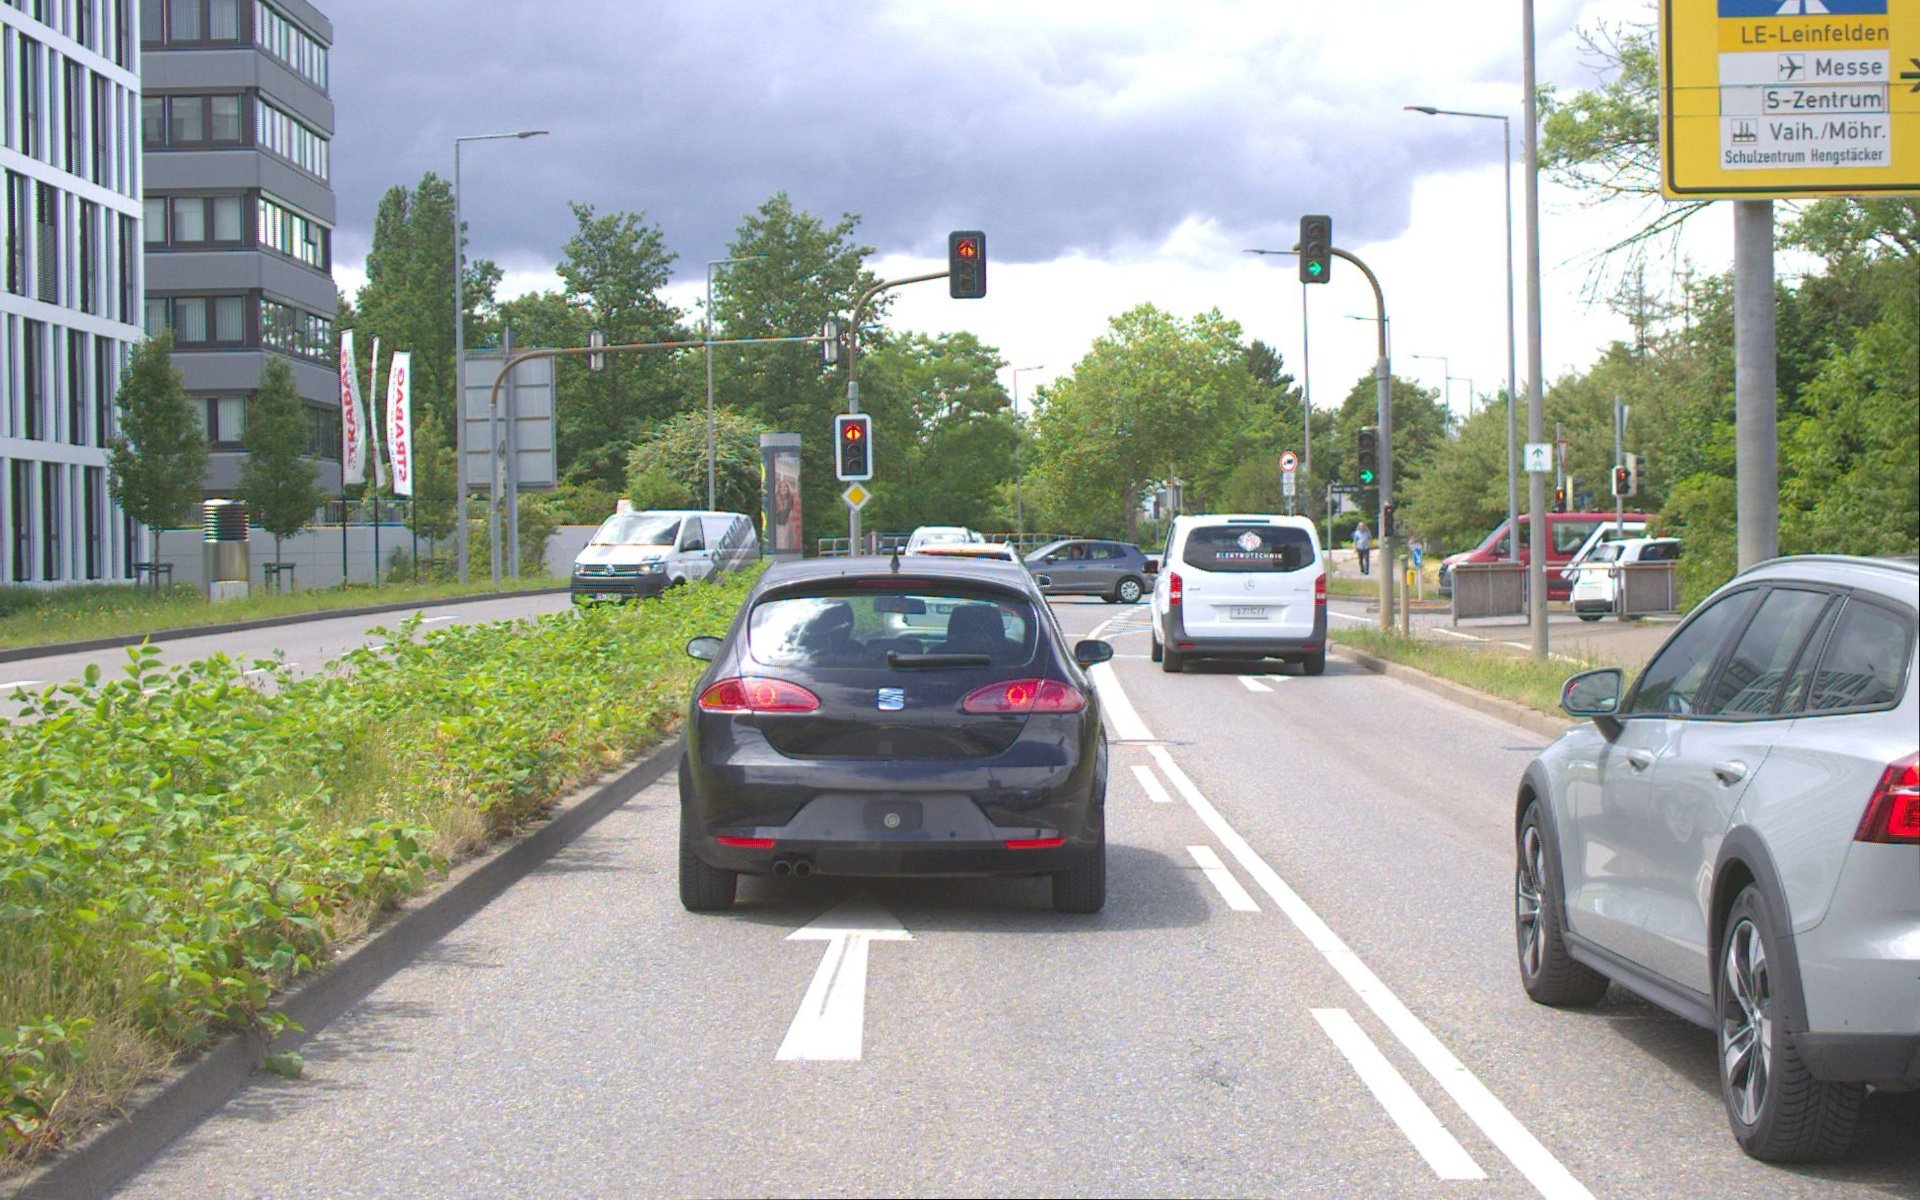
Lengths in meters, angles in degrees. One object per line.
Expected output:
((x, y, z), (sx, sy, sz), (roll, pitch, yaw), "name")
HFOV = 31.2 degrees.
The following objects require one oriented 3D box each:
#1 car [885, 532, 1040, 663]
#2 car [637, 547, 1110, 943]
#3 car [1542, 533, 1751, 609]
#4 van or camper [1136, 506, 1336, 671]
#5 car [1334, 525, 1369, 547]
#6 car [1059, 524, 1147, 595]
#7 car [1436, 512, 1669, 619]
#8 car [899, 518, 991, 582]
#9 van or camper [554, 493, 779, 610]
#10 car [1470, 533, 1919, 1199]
((0.005, -0.066, 41.494), (1.773, 1.486, 3.582), (-1, 1, -1), "car")
((-0.286, 0.522, 14.837), (1.773, 1.447, 3.582), (1, 1, 1), "car")
((12.653, -0.545, 63.440), (3.378, 1.341, 1.690), (-1, 1, -13), "car")
((3.246, -0.173, 41.328), (1.993, 1.853, 4.944), (0, 1, 0), "van or camper")
((25.239, -4.135, 221.561), (1.994, 1.347, 3.999), (1, 1, 10), "car")
((3.338, -0.965, 80.162), (1.994, 1.590, 4.000), (0, 1, 3), "car")
((13.669, -0.803, 79.531), (5.225, 2.404, 1.999), (0, 1, 8), "car")
((-0.363, -1.289, 87.334), (1.994, 1.590, 4.000), (0, 1, 5), "car")
((-5.194, -0.872, 61.564), (1.996, 2.007, 4.810), (0, 1, 23), "van or camper")
((2.712, 0.587, 9.330), (1.863, 1.513, 4.447), (-1, 1, -2), "car")
